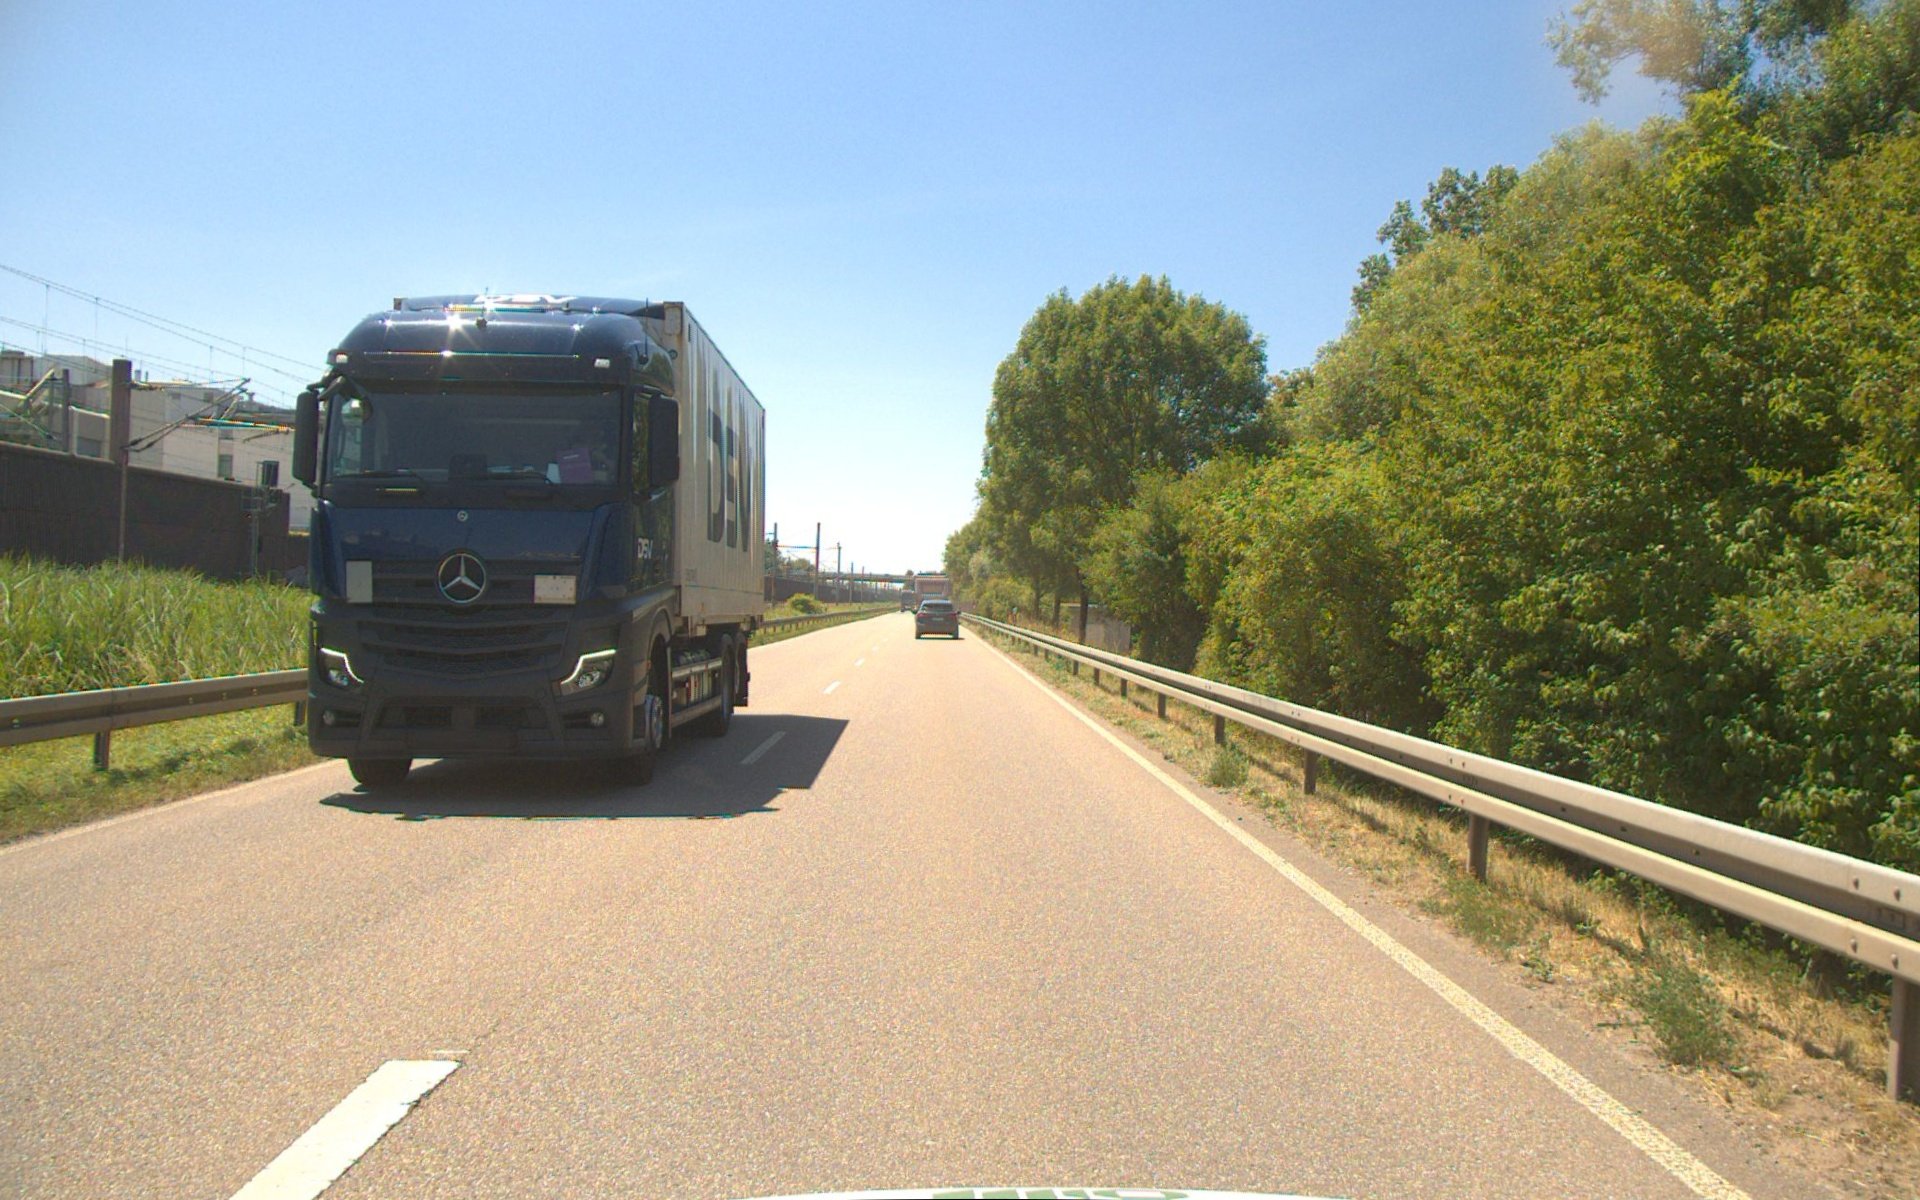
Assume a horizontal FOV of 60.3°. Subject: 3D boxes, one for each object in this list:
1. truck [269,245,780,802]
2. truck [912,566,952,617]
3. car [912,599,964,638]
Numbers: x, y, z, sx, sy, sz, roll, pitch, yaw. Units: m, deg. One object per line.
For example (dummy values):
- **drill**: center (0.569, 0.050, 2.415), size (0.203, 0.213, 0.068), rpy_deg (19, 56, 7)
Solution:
- **truck**: center (-3.738, -0.565, 17.307), size (2.740, 4.047, 10.497), rpy_deg (0, 0, -1)
- **truck**: center (-2.030, -0.579, 119.675), size (2.714, 3.485, 10.816), rpy_deg (1, 0, -1)
- **car**: center (-0.932, 0.722, 68.142), size (1.954, 1.534, 3.997), rpy_deg (0, 0, -3)
